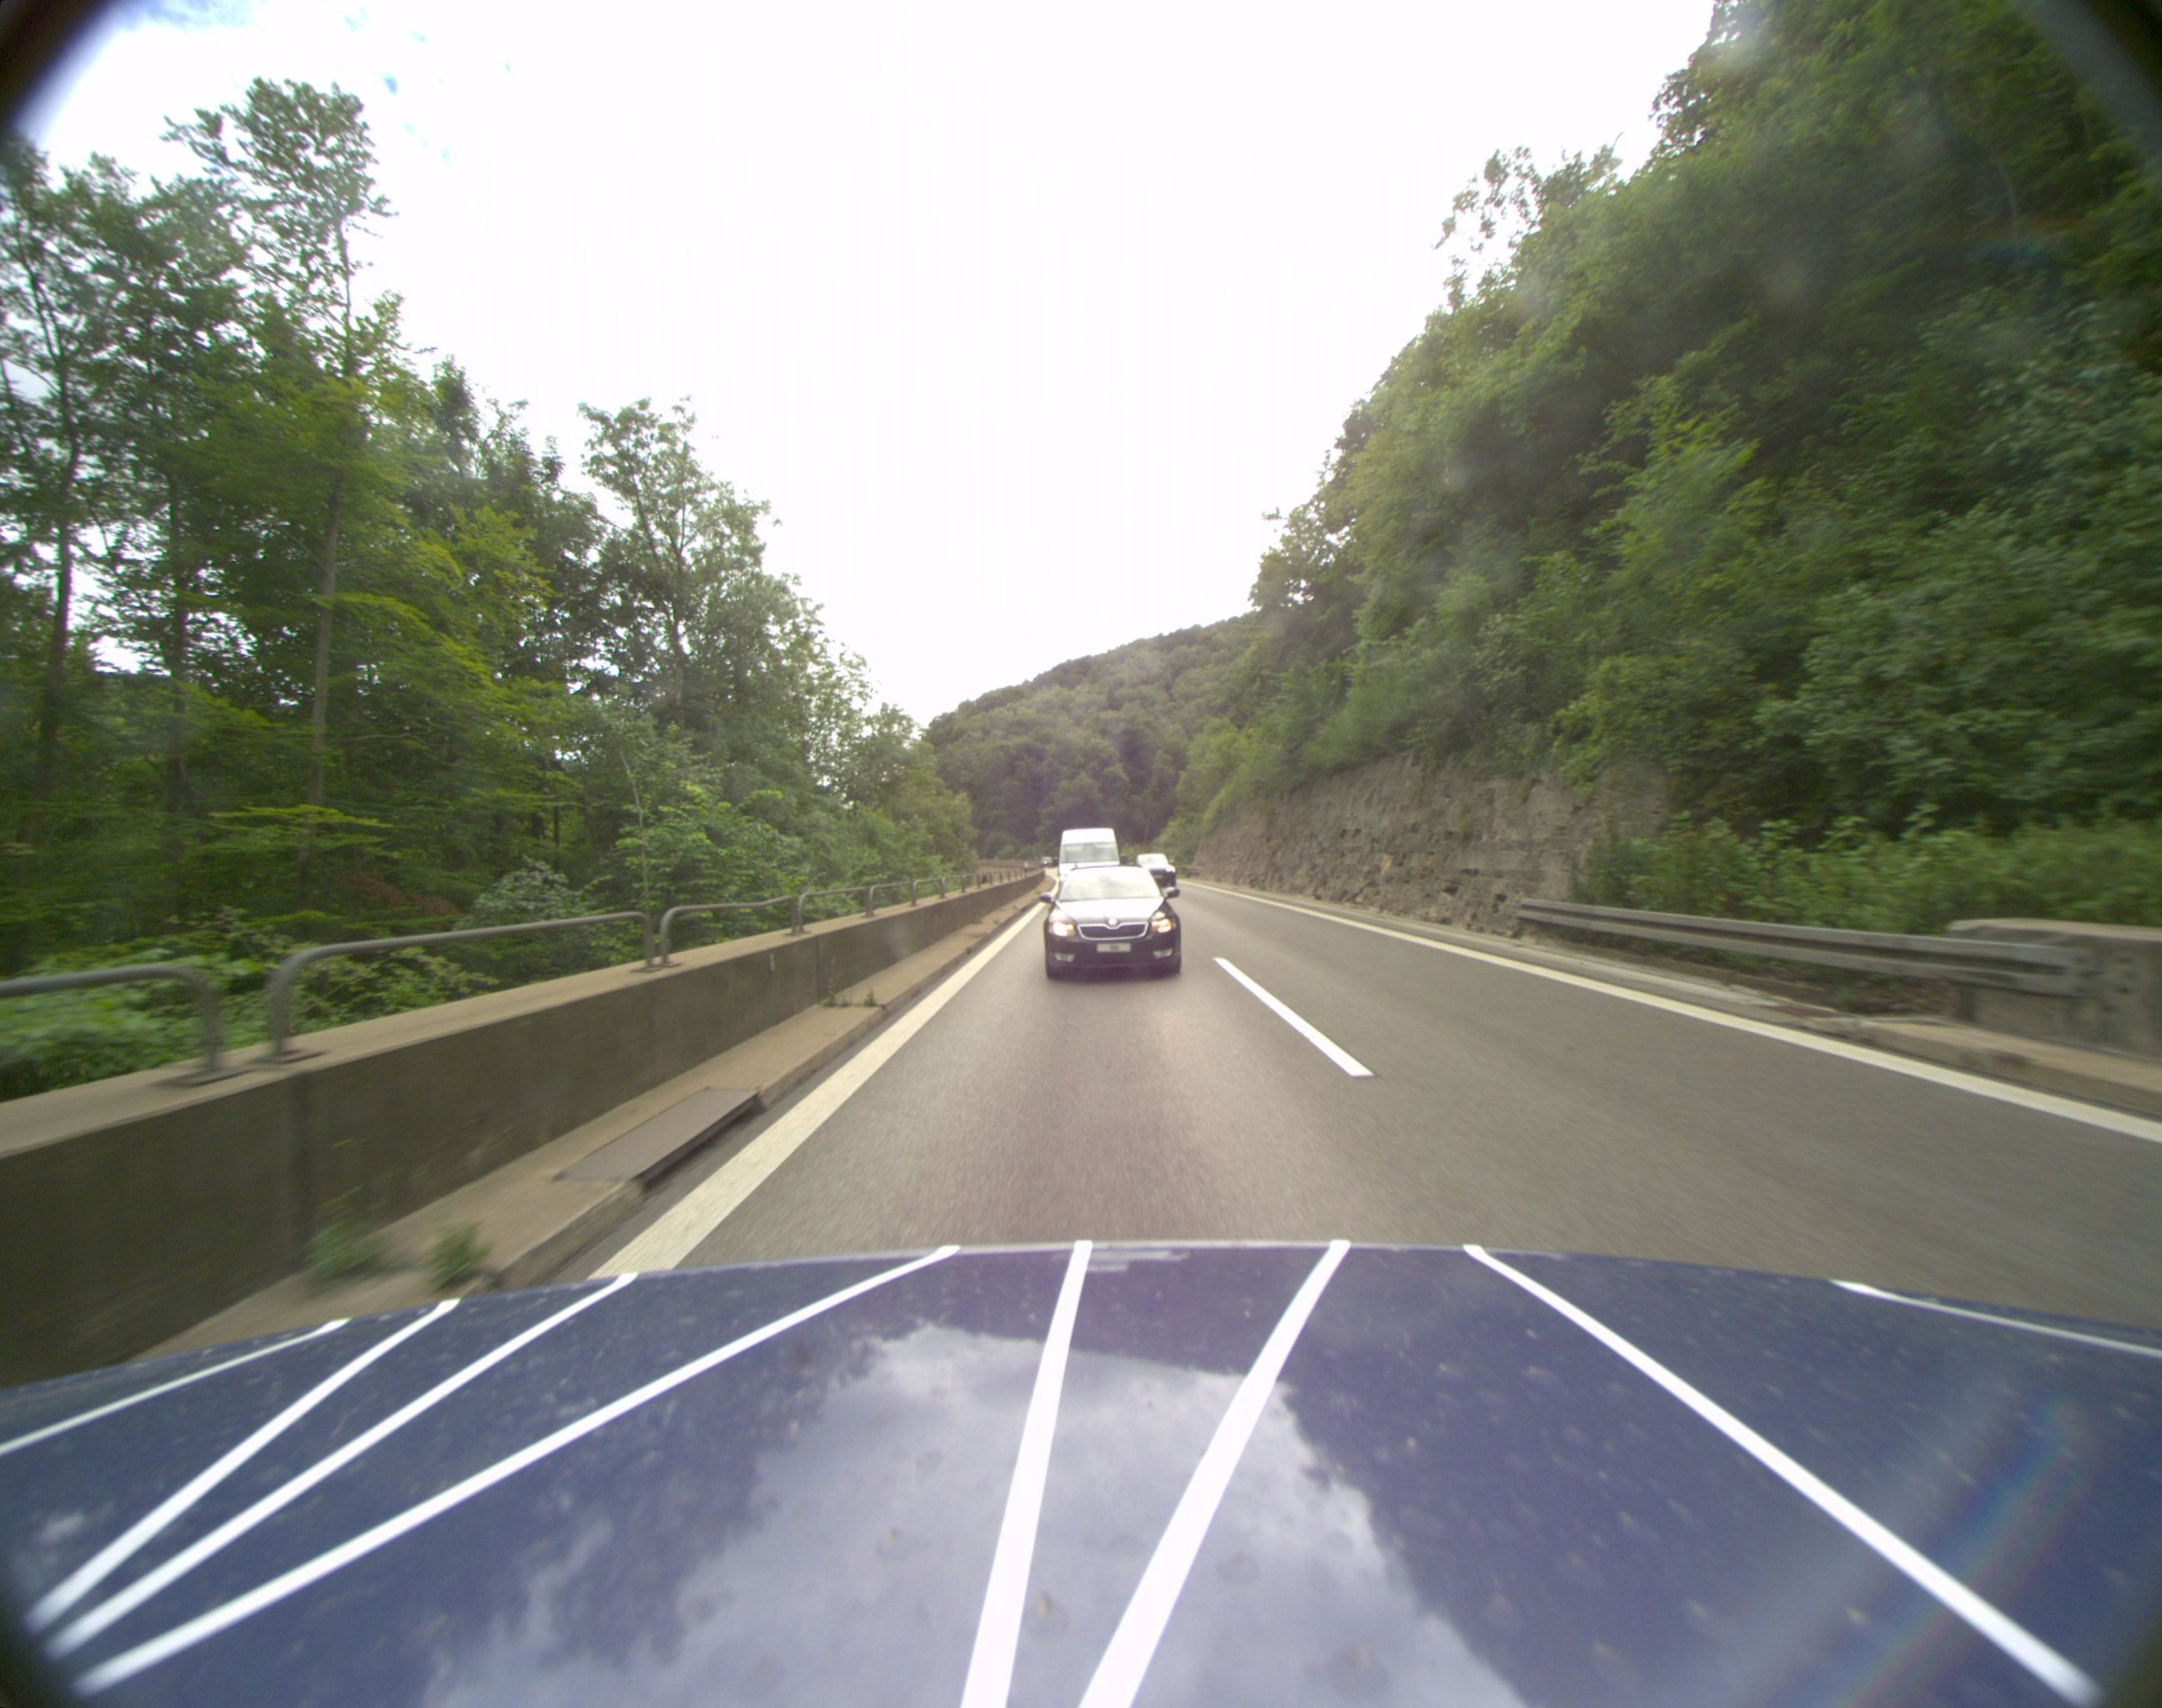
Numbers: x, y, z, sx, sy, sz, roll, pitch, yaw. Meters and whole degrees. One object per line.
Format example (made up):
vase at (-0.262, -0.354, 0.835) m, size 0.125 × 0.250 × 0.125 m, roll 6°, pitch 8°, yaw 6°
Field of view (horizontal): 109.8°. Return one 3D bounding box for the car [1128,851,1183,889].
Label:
car at (3.612, 0.749, 37.742) m, size 1.999 × 1.622 × 5.007 m, roll -4°, pitch 0°, yaw -2°

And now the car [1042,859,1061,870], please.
car at (-4.138, 1.418, 106.309) m, size 1.889 × 1.312 × 3.995 m, roll -3°, pitch 1°, yaw -12°

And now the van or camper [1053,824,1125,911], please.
van or camper at (0.255, 0.425, 26.088) m, size 2.081 × 2.575 × 5.912 m, roll -2°, pitch 0°, yaw 0°

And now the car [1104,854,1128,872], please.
car at (3.132, 0.768, 69.258) m, size 1.686 × 1.506 × 4.581 m, roll -2°, pitch 0°, yaw -3°

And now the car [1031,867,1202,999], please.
car at (0.478, 0.987, 11.529) m, size 1.998 × 1.389 × 5.008 m, roll -2°, pitch 1°, yaw 1°
